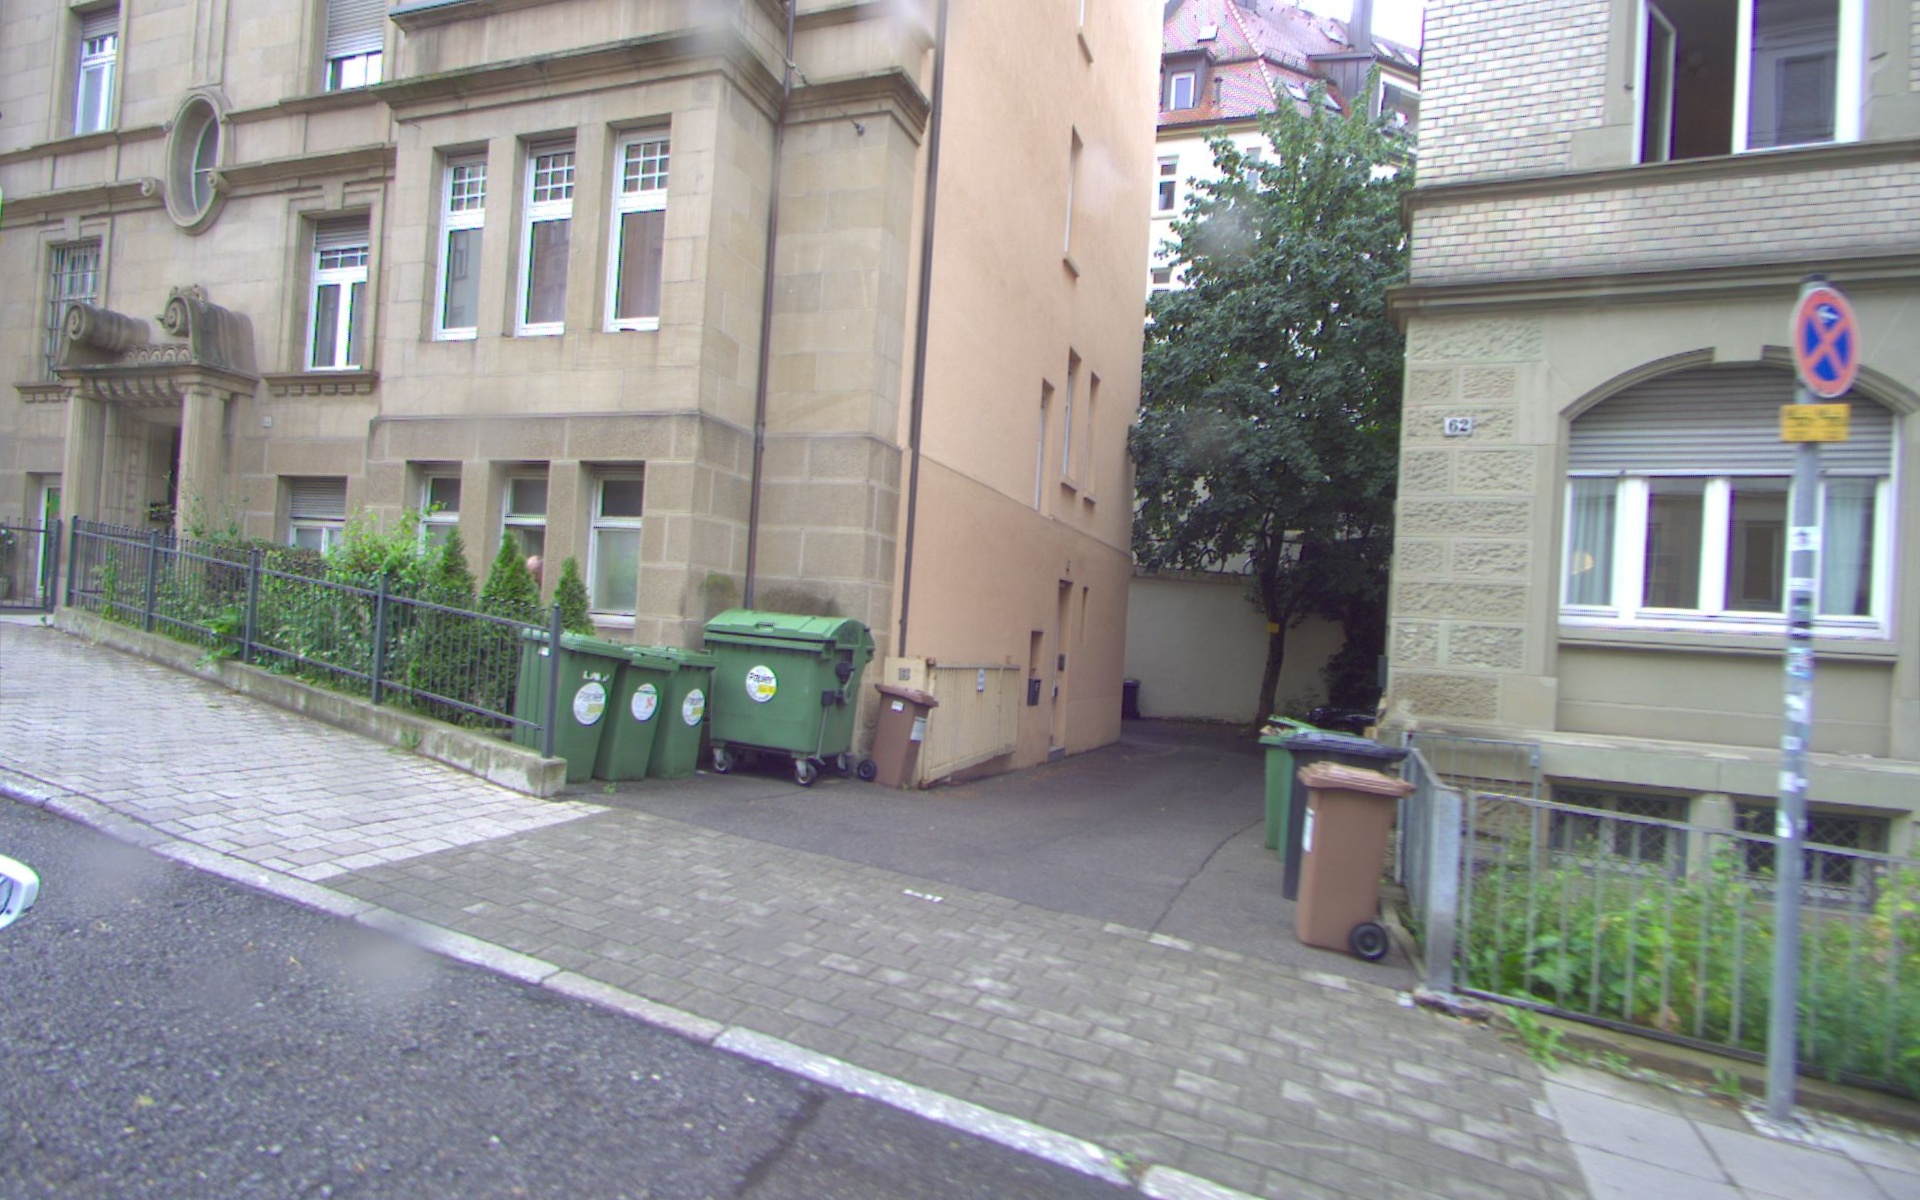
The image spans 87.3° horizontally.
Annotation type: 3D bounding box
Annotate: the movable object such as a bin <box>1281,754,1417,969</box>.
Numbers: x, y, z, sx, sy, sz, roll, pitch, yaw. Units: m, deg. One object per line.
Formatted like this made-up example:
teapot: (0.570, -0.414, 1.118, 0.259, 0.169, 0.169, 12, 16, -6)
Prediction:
movable object such as a bin: (2.011, 1.331, 5.236, 0.527, 0.932, 0.427, 7, 2, 20)

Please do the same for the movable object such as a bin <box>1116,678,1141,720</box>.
movable object such as a bin: (4.632, 2.708, 27.646, 0.532, 1.053, 0.563, 4, 4, 20)

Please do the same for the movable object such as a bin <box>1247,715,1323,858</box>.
movable object such as a bin: (2.796, 1.576, 8.630, 0.469, 1.113, 0.521, 6, -3, 23)

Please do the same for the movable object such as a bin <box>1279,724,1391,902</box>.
movable object such as a bin: (2.586, 1.436, 6.924, 0.598, 1.072, 0.501, 6, -3, 24)

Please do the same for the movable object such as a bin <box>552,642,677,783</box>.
movable object such as a bin: (-2.666, 0.866, 7.790, 0.593, 0.978, 0.540, 6, -4, 20)

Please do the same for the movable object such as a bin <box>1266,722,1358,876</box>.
movable object such as a bin: (2.772, 1.538, 7.896, 0.545, 1.072, 0.498, 6, -3, 24)

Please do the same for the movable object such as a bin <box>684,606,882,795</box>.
movable object such as a bin: (-1.549, 0.885, 8.971, 1.256, 1.447, 0.976, 6, -4, 20)

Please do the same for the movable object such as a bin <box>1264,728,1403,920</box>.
movable object such as a bin: (2.362, 1.377, 6.339, 0.653, 1.041, 0.529, 6, -4, 30)

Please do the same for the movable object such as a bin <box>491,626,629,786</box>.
movable object such as a bin: (-2.871, 0.760, 7.248, 0.593, 1.037, 0.540, 6, -4, 20)

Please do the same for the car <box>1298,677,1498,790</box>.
car: (10.183, 3.024, 23.473, 3.930, 1.530, 1.796, 13, 5, 28)

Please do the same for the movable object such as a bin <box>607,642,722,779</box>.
movable object such as a bin: (-2.456, 0.920, 8.399, 0.593, 1.037, 0.540, 6, -4, 20)

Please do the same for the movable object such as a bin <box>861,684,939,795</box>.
movable object such as a bin: (-0.562, 1.303, 9.467, 0.510, 0.952, 0.395, 6, -4, 20)
